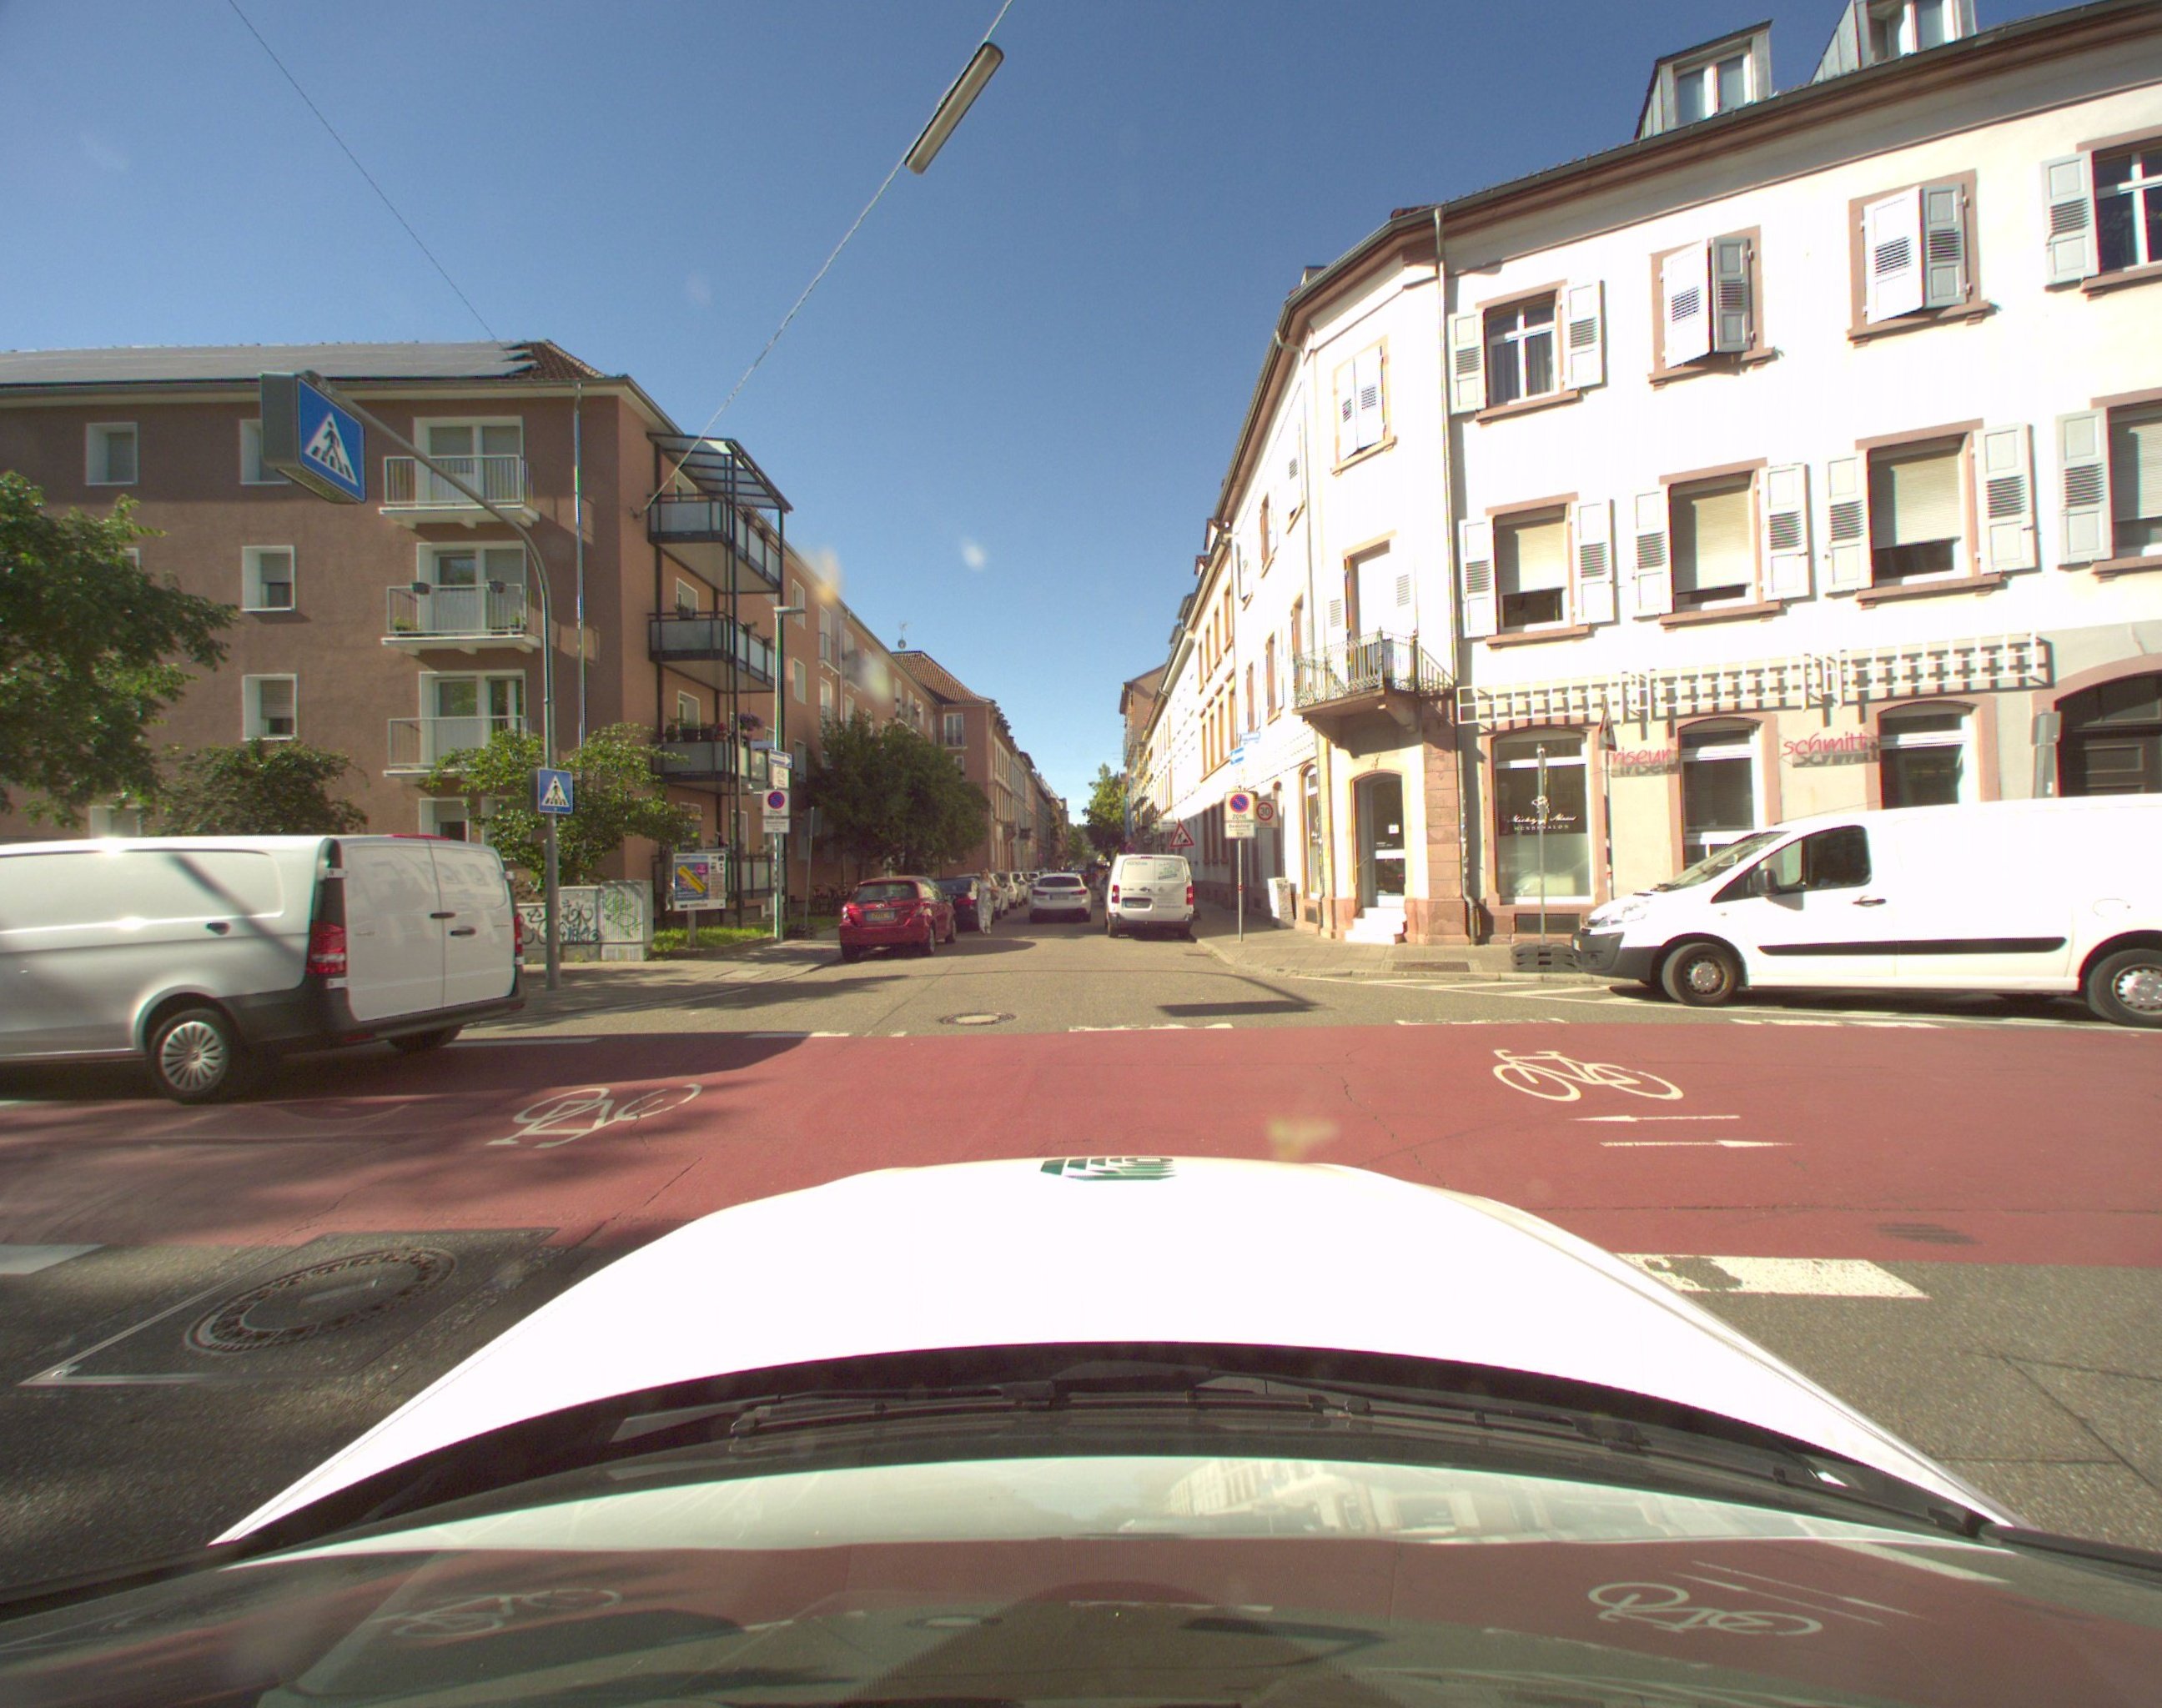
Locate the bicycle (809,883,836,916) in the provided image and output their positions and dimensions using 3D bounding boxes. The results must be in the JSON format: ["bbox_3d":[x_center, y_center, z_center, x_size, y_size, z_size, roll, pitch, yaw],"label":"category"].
[{"bbox_3d":[-8.628,1.517,27.175,1.201,1.072,0.268,-2,-1,40],"label":"bicycle"}]

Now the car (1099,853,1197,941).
[{"bbox_3d":[1.497,0.949,19.928,1.889,1.859,5.011,1,-1,-1],"label":"car"}]

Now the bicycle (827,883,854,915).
[{"bbox_3d":[-8.168,1.522,27.659,1.201,1.071,0.255,-2,-1,40],"label":"bicycle"}]

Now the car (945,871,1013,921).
[{"bbox_3d":[-3.370,1.364,27.491,1.647,1.500,3.764,-1,-1,2],"label":"car"}]

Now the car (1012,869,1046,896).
[{"bbox_3d":[-3.084,1.675,48.856,1.647,1.500,3.764,-1,-1,2],"label":"car"}]

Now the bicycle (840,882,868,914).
[{"bbox_3d":[-7.739,1.494,27.722,1.204,1.071,0.255,-2,-1,40],"label":"bicycle"}]

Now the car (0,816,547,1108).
[{"bbox_3d":[-7.684,0.783,6.647,5.379,1.908,2.111,-1,-1,6],"label":"car"}]

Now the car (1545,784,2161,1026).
[{"bbox_3d":[7.632,0.459,8.160,4.964,1.946,2.062,-2,-1,24],"label":"car"}]

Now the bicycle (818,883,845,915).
[{"bbox_3d":[-8.403,1.509,27.424,1.201,1.071,0.255,-2,-1,40],"label":"bicycle"}]

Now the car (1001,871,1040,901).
[{"bbox_3d":[-3.191,1.675,43.353,1.647,1.500,3.764,-1,-1,2],"label":"car"}]

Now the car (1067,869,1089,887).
[{"bbox_3d":[-0.225,2.047,68.987,1.754,1.410,4.329,-1,-1,2],"label":"car"}]

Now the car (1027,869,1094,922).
[{"bbox_3d":[-0.556,1.268,25.078,1.824,1.457,3.963,-1,-3,2],"label":"car"}]

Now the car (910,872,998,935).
[{"bbox_3d":[-3.388,1.283,22.417,1.647,1.500,4.081,-1,-1,2],"label":"car"}]

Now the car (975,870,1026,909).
[{"bbox_3d":[-3.312,1.445,34.137,1.647,1.500,3.764,-1,-1,2],"label":"car"}]

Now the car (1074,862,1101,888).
[{"bbox_3d":[0.509,1.545,61.253,1.887,1.859,3.996,-1,-1,2],"label":"car"}]

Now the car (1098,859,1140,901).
[{"bbox_3d":[1.809,1.199,39.116,1.887,1.859,3.996,-1,-1,2],"label":"car"}]

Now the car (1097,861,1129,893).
[{"bbox_3d":[1.984,1.420,51.288,1.887,1.859,3.996,-1,-1,2],"label":"car"}]

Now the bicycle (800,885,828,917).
[{"bbox_3d":[-8.839,1.547,26.924,1.201,1.035,0.293,-2,-1,40],"label":"bicycle"}]

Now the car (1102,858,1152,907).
[{"bbox_3d":[1.859,1.144,33.735,1.887,1.859,3.996,-1,-1,2],"label":"car"}]

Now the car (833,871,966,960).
[{"bbox_3d":[-3.515,1.133,16.460,1.678,1.500,3.808,-3,-1,2],"label":"car"}]

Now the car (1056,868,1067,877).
[{"bbox_3d":[-3.471,3.303,144.914,1.647,1.500,3.764,-1,-1,2],"label":"car"}]

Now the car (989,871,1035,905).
[{"bbox_3d":[-3.189,1.559,38.253,1.647,1.500,3.764,-1,-1,2],"label":"car"}]

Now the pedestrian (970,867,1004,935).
[{"bbox_3d":[-2.309,1.134,19.924,0.733,1.614,0.813,-2,-1,-11],"label":"pedestrian"}]
